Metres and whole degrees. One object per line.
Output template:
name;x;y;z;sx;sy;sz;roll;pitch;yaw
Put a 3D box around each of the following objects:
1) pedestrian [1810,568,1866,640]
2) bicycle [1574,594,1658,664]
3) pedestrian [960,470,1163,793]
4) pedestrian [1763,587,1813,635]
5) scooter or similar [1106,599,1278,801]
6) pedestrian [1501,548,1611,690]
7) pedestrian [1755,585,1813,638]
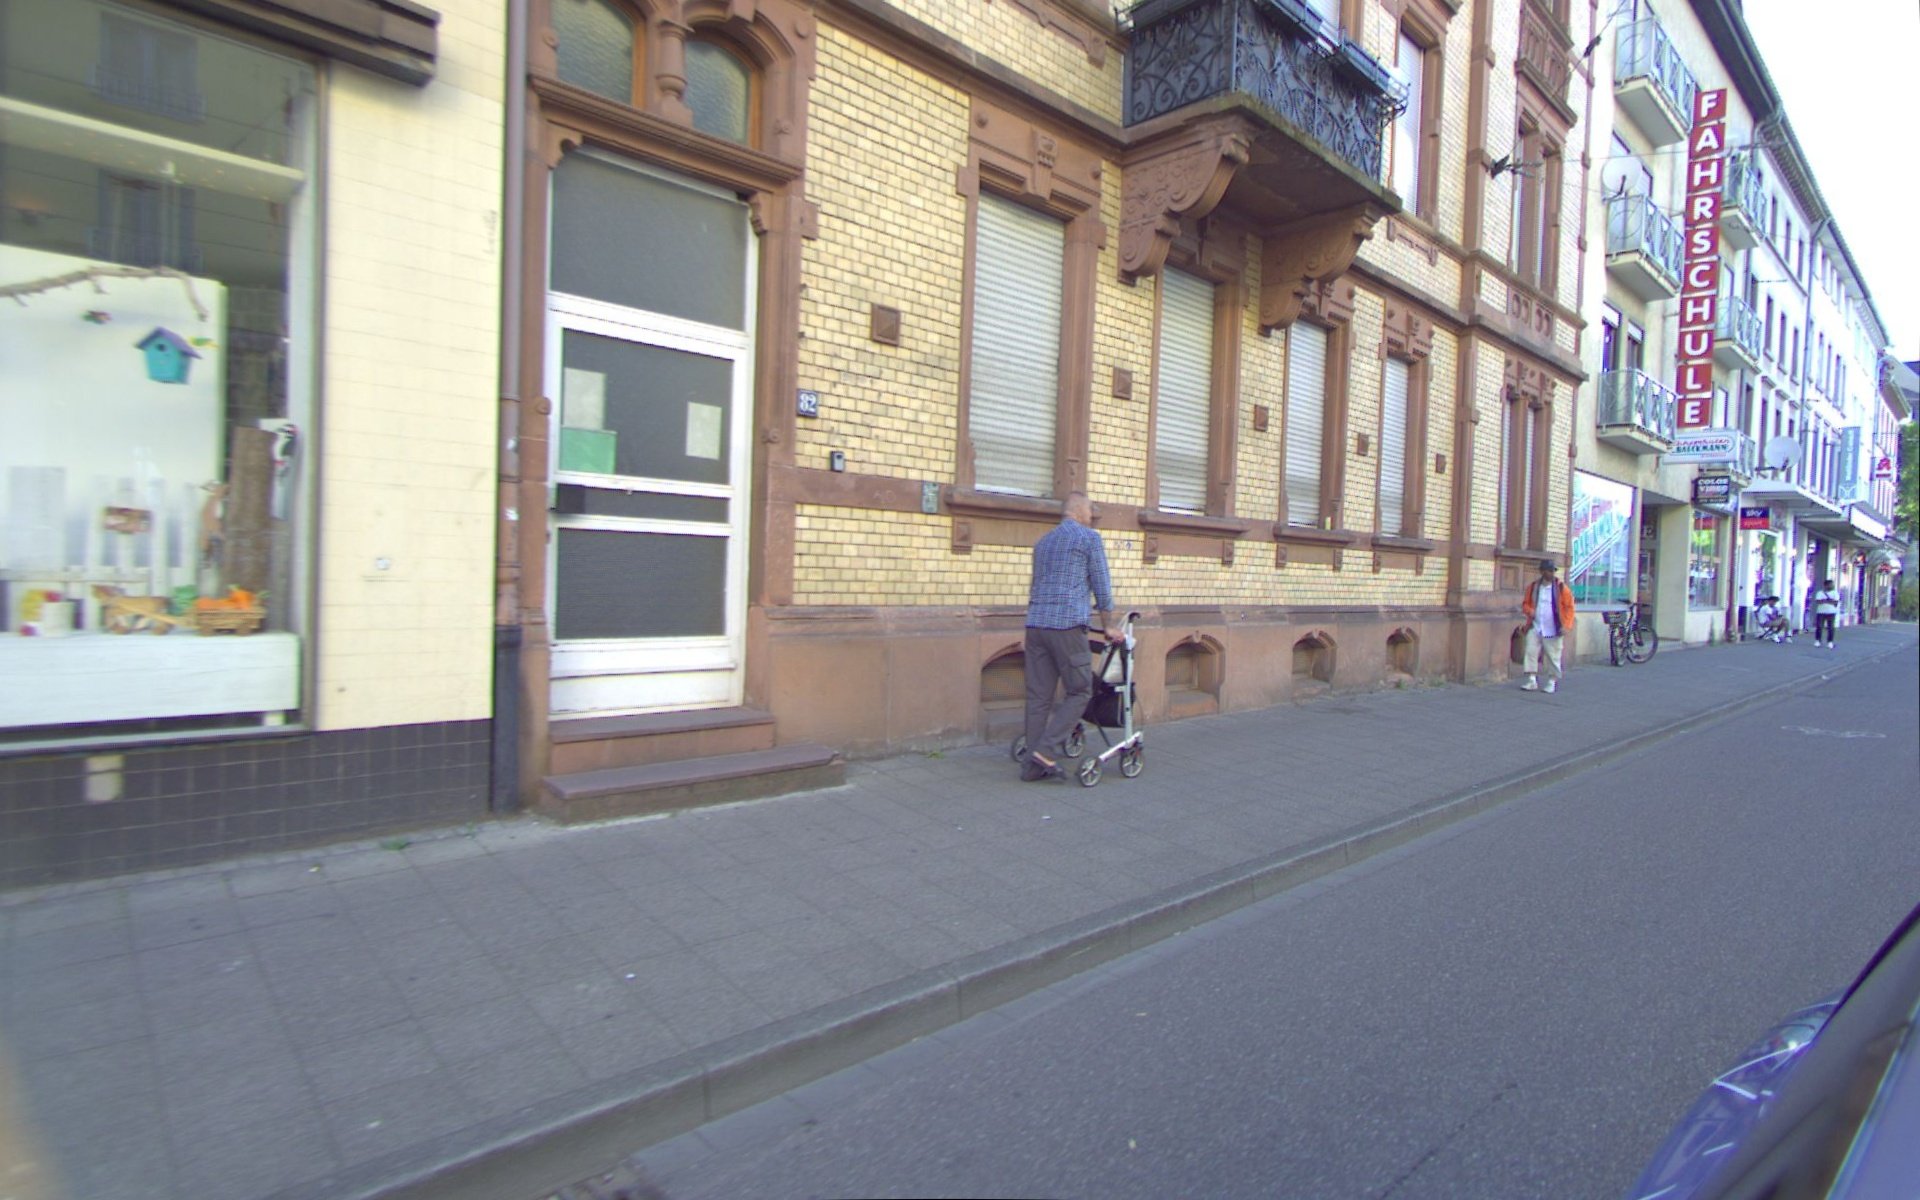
pedestrian;23.734;0.116;27.350;0.665;1.832;0.709;3;6;-27
bicycle;10.999;0.454;16.945;2.271;1.073;0.556;0;5;-43
pedestrian;0.621;0.154;6.292;0.748;1.820;0.807;1;6;-43
pedestrian;22.716;0.292;27.785;0.701;1.188;1.006;9;6;27
scooter or similar;1.438;0.581;6.336;0.512;1.082;0.807;0;7;-43
pedestrian;7.537;0.225;12.802;0.811;1.646;0.800;2;6;-42
pedestrian;22.012;0.292;27.052;0.818;1.269;0.705;7;6;12
